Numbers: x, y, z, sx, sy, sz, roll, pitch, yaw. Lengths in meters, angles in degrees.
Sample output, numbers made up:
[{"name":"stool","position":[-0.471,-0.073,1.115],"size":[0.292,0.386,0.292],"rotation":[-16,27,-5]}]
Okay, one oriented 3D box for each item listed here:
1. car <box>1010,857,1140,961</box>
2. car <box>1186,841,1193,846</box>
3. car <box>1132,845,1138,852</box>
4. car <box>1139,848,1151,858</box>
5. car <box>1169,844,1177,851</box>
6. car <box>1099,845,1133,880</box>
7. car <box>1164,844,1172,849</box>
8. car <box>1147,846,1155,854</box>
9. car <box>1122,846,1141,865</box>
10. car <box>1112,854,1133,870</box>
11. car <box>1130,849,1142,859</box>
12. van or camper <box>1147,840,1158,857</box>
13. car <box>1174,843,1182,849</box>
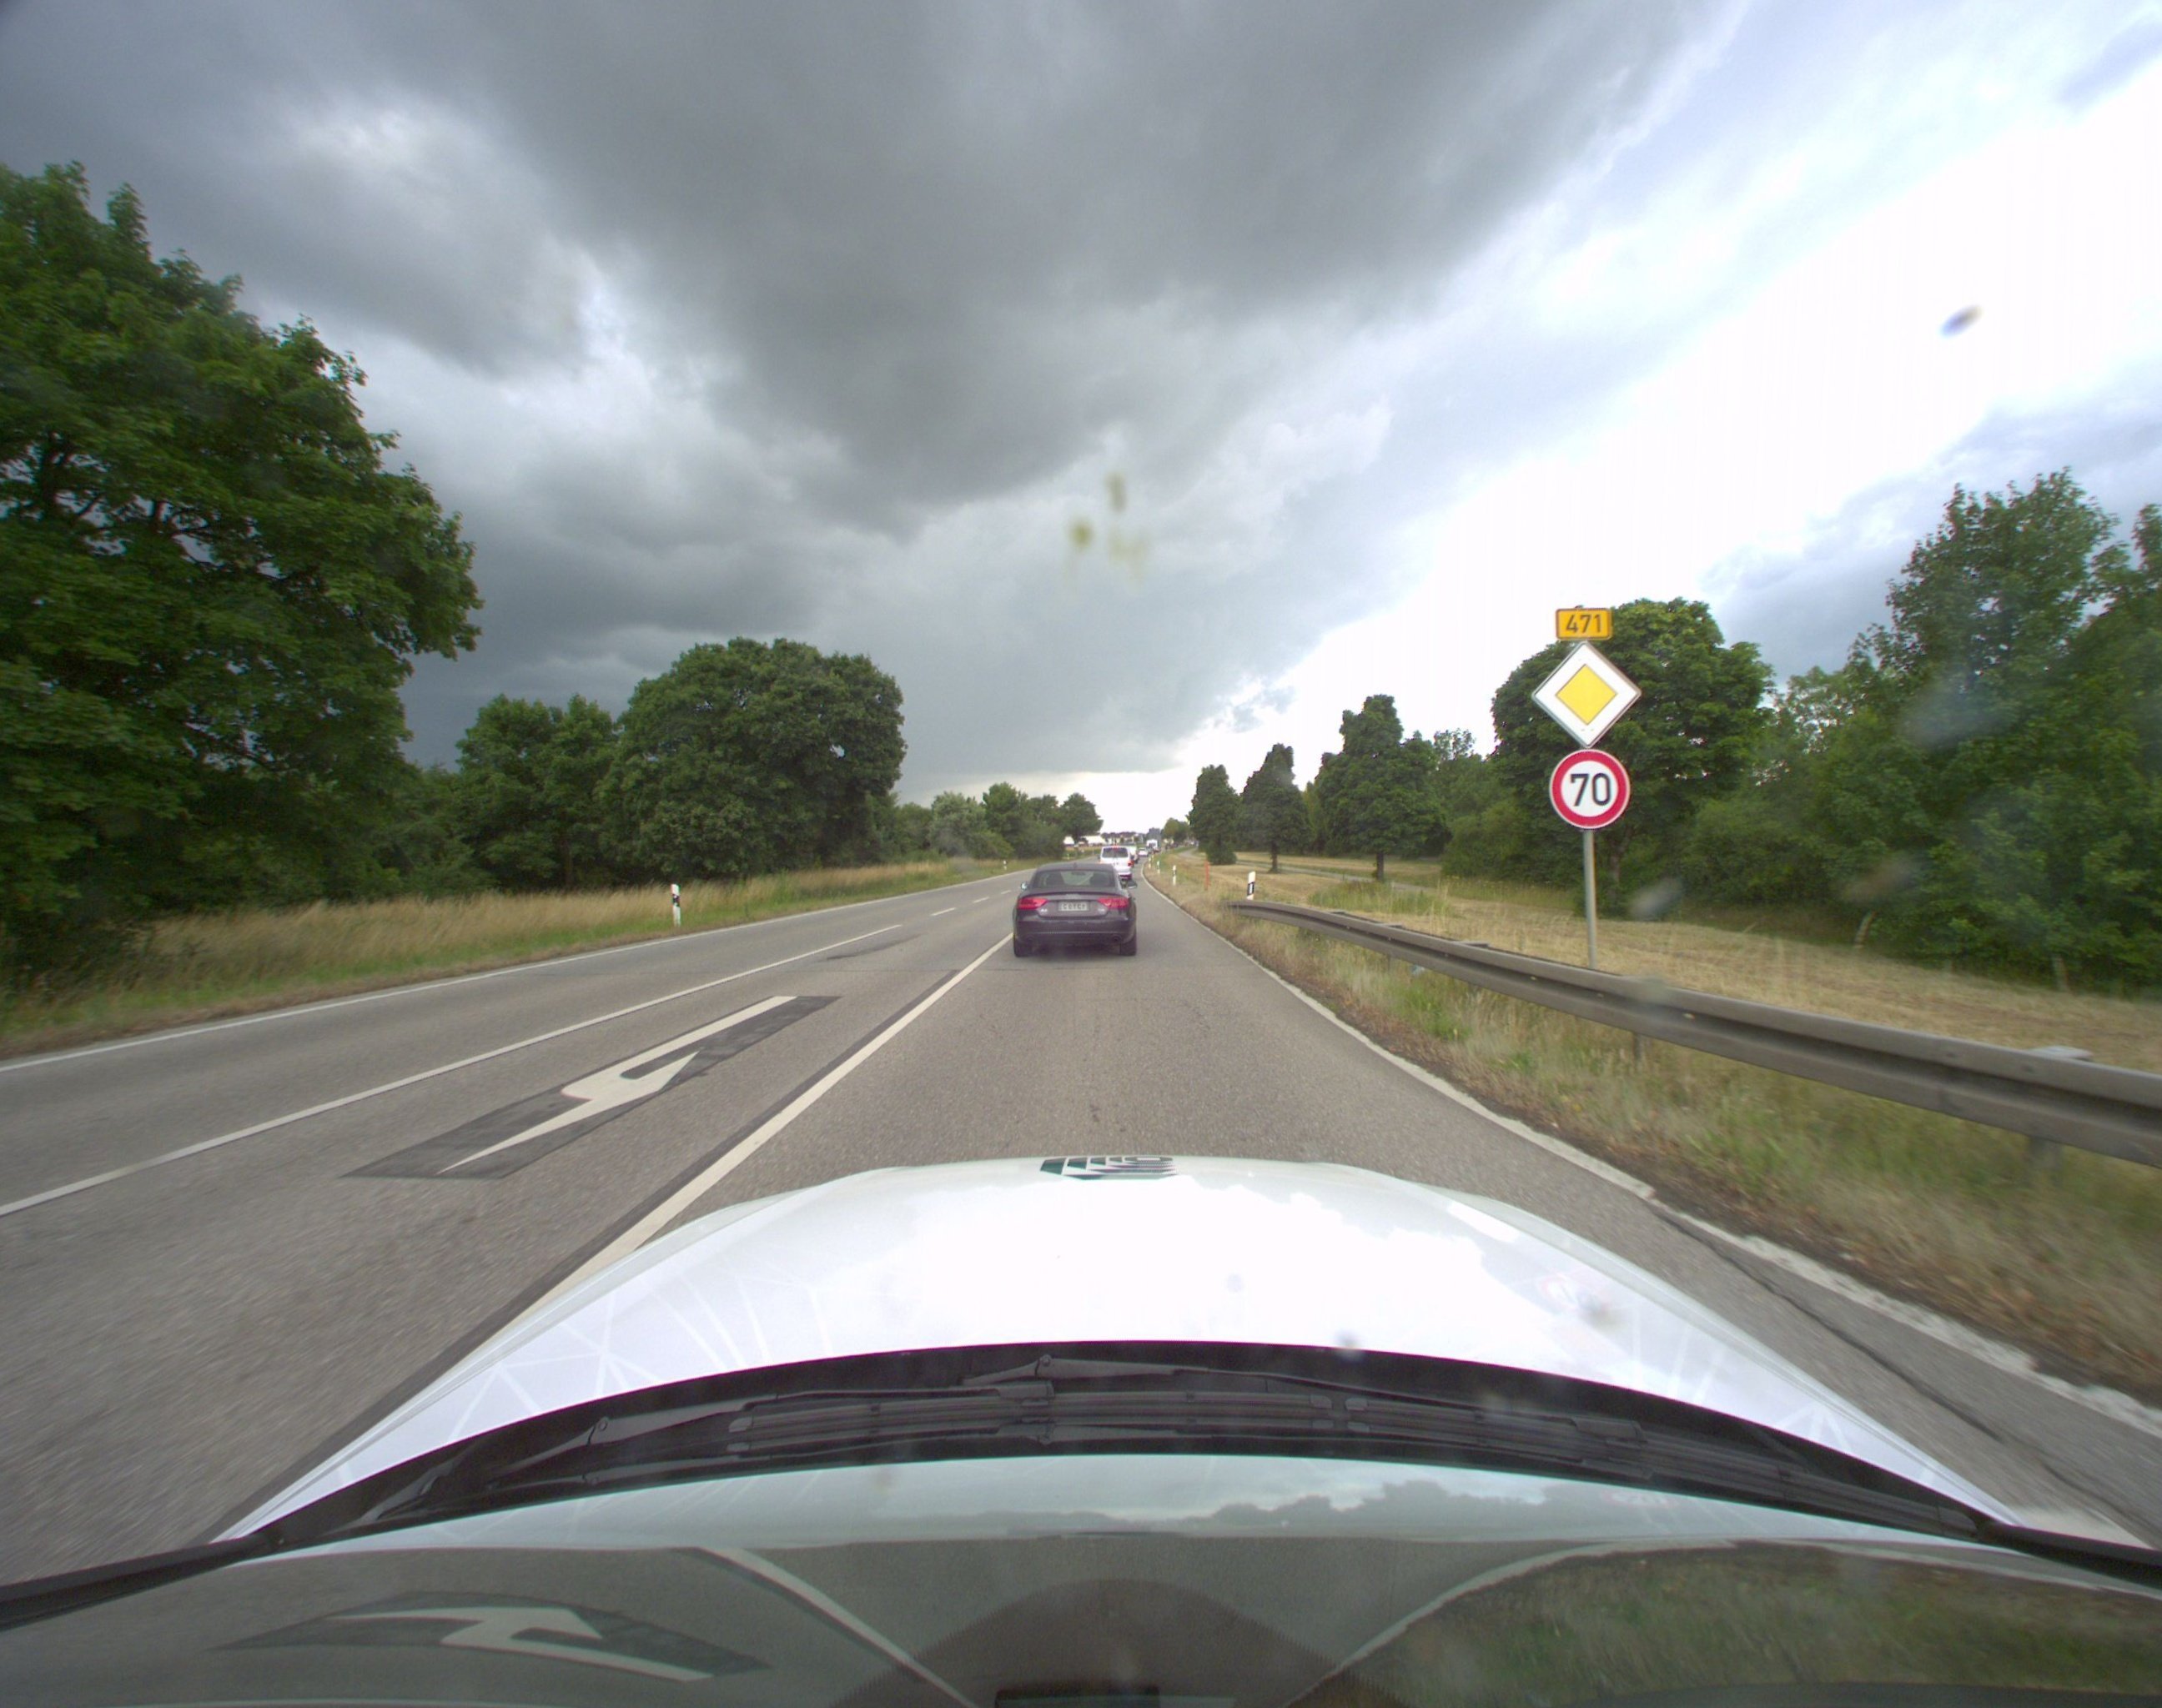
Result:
[{"name":"car","position":[-0.032,0.761,13.199],"size":[1.776,1.376,4.001],"rotation":[0,1,1]},{"name":"car","position":[34.569,-3.238,259.115],"size":[1.814,1.493,4.003],"rotation":[0,0,3]},{"name":"car","position":[14.109,-1.475,212.049],"size":[1.589,1.802,3.202],"rotation":[0,0,2]},{"name":"car","position":[10.406,-0.196,131.966],"size":[1.726,1.514,3.754],"rotation":[-1,0,7]},{"name":"car","position":[26.588,-1.916,235.535],"size":[1.986,2.013,4.001],"rotation":[-1,0,1]},{"name":"car","position":[1.927,0.435,46.152],"size":[1.832,1.882,4.001],"rotation":[0,1,1]},{"name":"car","position":[22.839,-1.910,213.285],"size":[1.712,1.451,4.003],"rotation":[0,0,3]},{"name":"car","position":[12.830,-0.738,149.377],"size":[1.251,1.353,3.473],"rotation":[-1,0,7]},{"name":"car","position":[5.775,0.142,93.001],"size":[1.984,2.088,4.005],"rotation":[-1,0,4]},{"name":"car","position":[3.957,0.717,77.080],"size":[1.787,1.464,3.253],"rotation":[-1,0,5]},{"name":"car","position":[7.679,-0.014,113.326],"size":[1.528,1.277,3.751],"rotation":[-1,0,4]},{"name":"van or camper","position":[14.771,-1.188,168.494],"size":[2.329,3.481,5.726],"rotation":[-1,0,5]},{"name":"car","position":[25.057,-2.136,211.393],"size":[1.814,1.596,4.003],"rotation":[0,0,3]}]
